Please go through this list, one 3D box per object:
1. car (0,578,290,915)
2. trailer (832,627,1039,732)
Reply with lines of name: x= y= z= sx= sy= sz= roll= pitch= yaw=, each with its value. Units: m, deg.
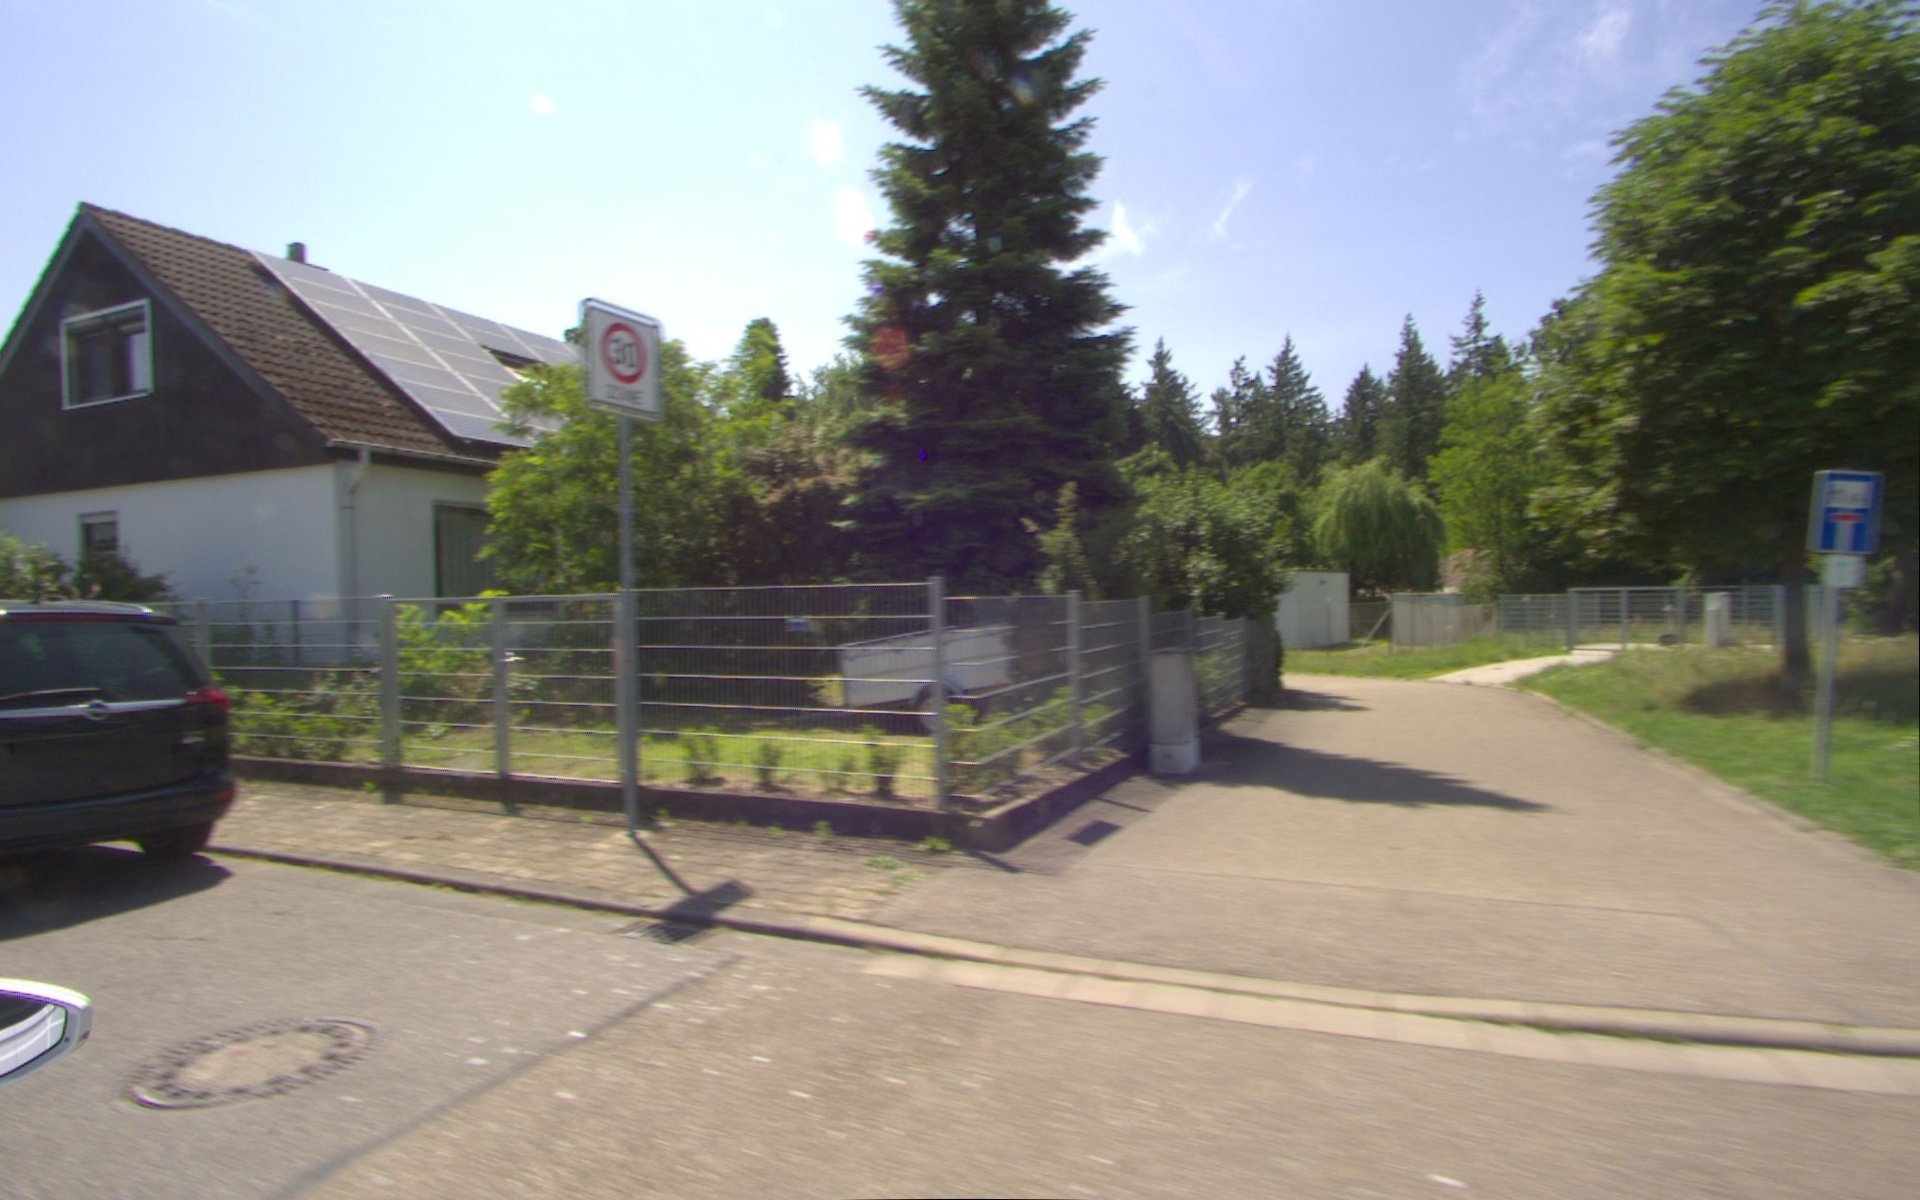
car: x=-6.712 y=0.752 z=6.378 sx=4.606 sy=1.684 sz=1.963 roll=-1 pitch=0 yaw=25
trailer: x=-0.266 y=0.886 z=11.686 sx=2.182 sy=1.098 sz=1.104 roll=-1 pitch=1 yaw=17
